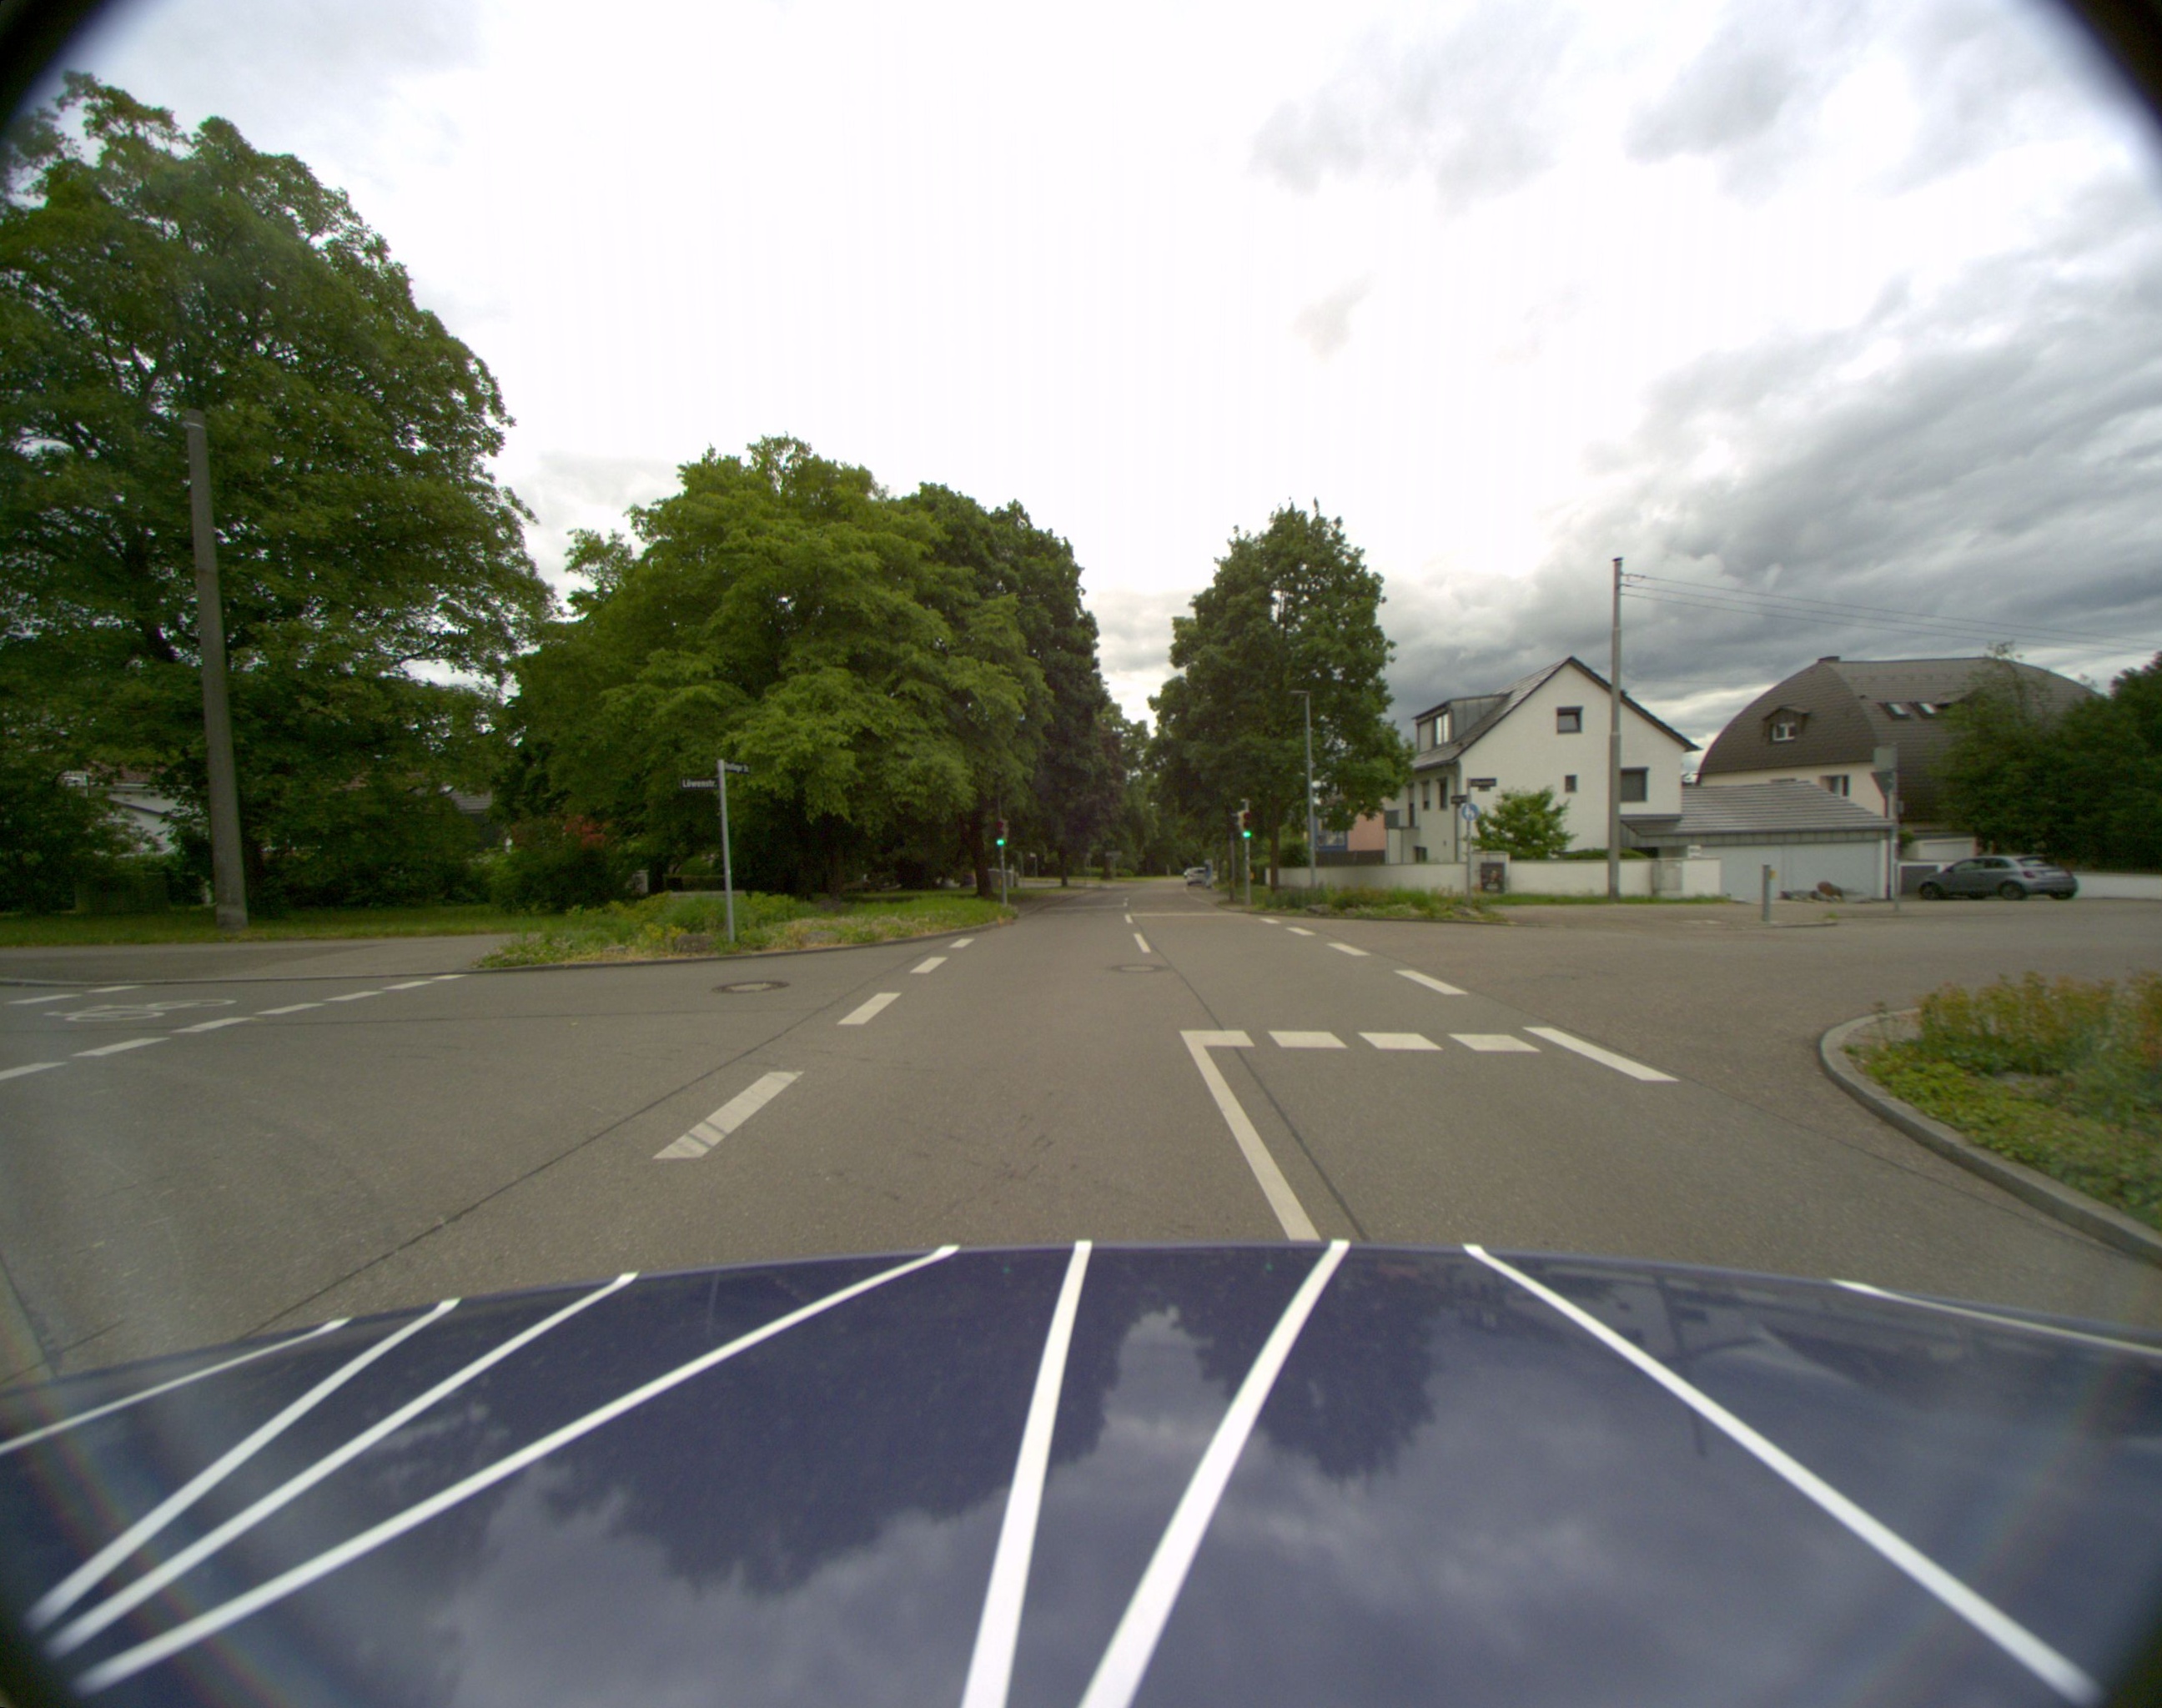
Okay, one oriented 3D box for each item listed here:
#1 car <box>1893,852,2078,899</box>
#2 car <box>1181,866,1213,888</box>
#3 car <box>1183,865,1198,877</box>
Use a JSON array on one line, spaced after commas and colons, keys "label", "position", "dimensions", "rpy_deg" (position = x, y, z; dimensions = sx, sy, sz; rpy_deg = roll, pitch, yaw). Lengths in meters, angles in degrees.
[{"label": "car", "position": [30.631, 0.770, 25.929], "dimensions": [1.691, 1.487, 3.861], "rpy_deg": [-1, -3, 1]}, {"label": "car", "position": [9.699, 1.879, 63.279], "dimensions": [1.996, 1.543, 4.004], "rpy_deg": [0, 1, 17]}, {"label": "car", "position": [16.017, 2.494, 110.978], "dimensions": [1.566, 1.504, 3.401], "rpy_deg": [1, 1, 21]}]
